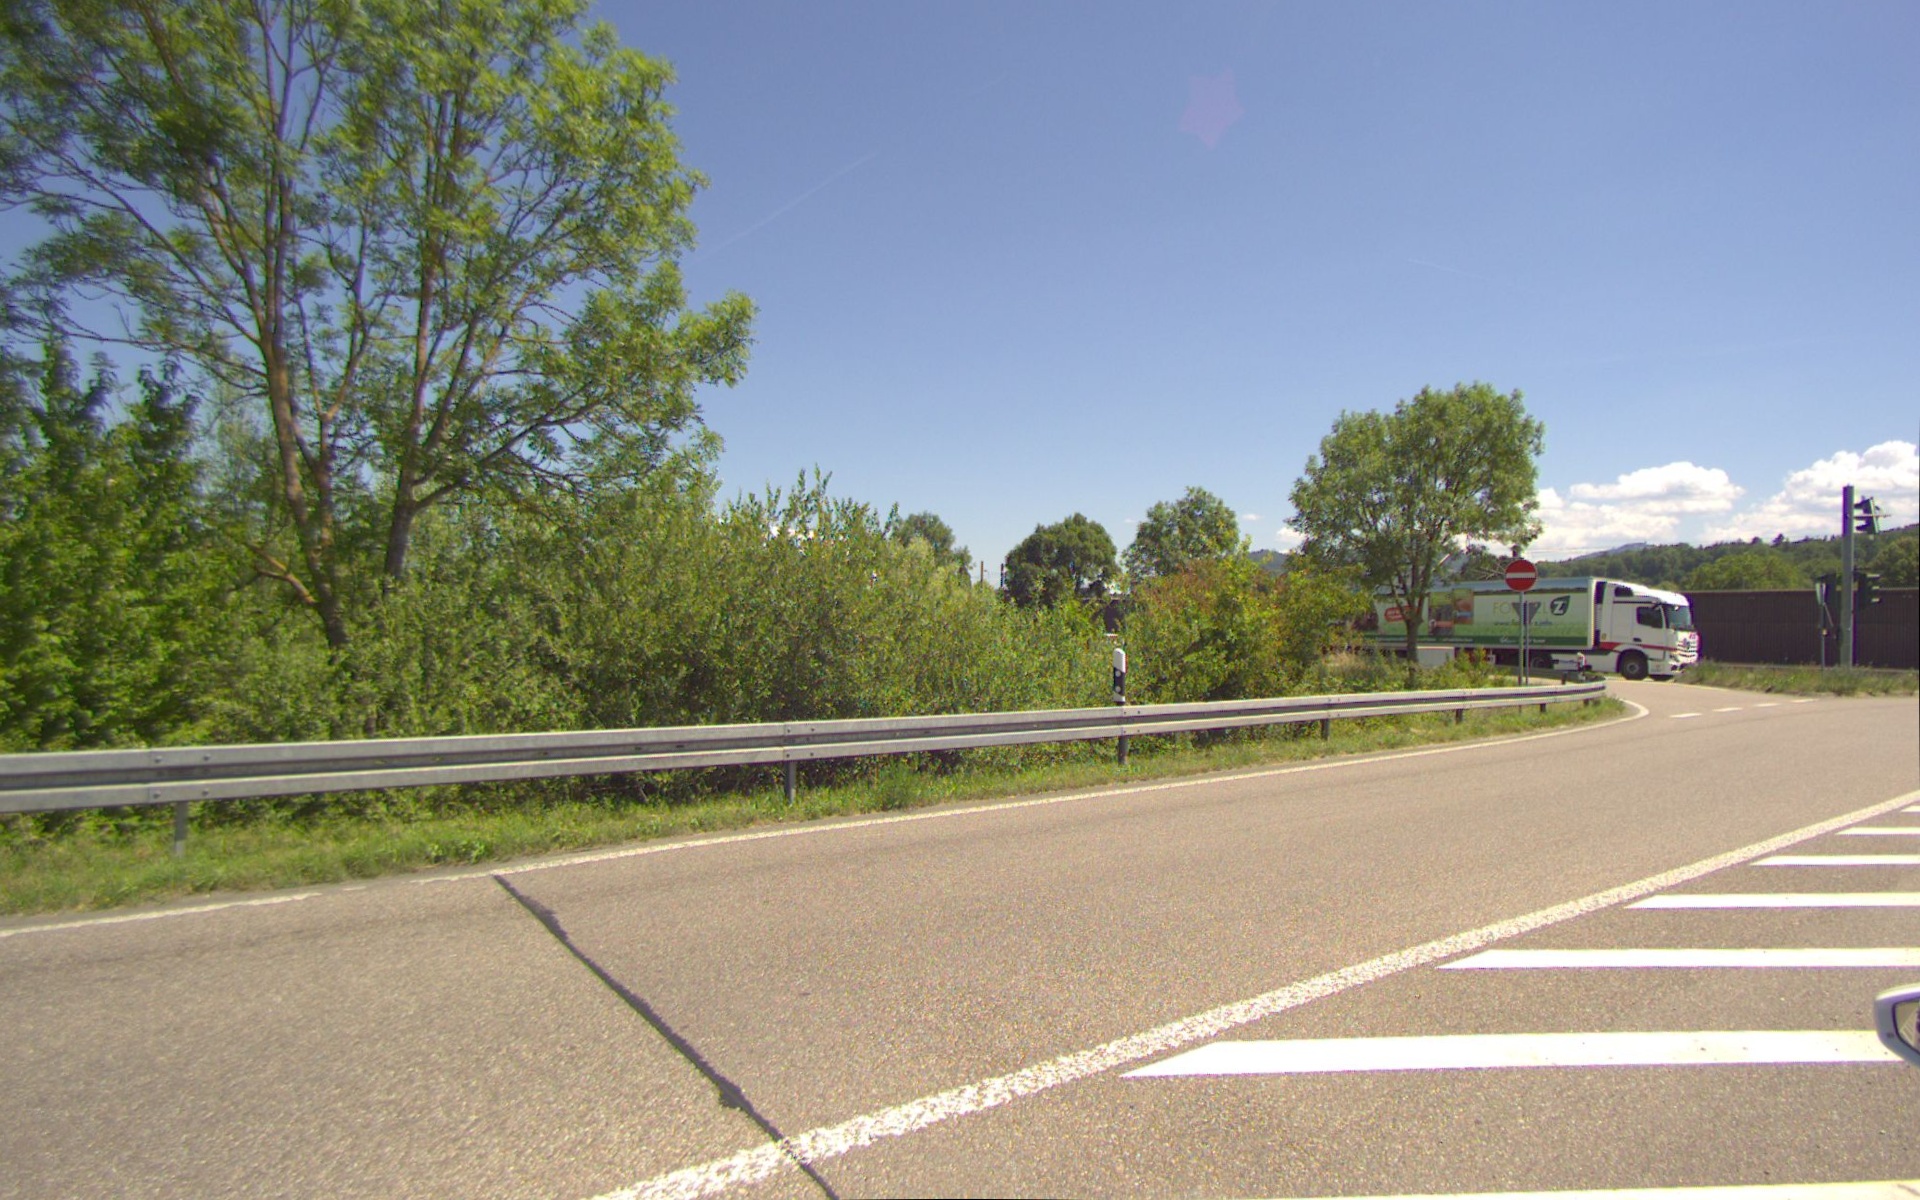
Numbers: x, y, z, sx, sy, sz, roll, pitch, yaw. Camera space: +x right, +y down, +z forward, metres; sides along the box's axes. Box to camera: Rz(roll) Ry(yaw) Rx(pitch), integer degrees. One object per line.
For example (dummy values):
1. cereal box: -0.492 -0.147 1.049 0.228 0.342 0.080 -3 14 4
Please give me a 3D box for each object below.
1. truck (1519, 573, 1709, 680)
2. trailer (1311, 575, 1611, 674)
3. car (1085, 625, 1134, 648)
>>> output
1. truck: 26.509 1.040 40.961 3.027 4.007 5.736 2 -1 -31
2. trailer: 22.813 1.045 47.194 3.027 4.007 13.074 2 -1 -31
3. car: 10.351 2.520 69.678 1.537 1.484 3.455 2 -1 -31
